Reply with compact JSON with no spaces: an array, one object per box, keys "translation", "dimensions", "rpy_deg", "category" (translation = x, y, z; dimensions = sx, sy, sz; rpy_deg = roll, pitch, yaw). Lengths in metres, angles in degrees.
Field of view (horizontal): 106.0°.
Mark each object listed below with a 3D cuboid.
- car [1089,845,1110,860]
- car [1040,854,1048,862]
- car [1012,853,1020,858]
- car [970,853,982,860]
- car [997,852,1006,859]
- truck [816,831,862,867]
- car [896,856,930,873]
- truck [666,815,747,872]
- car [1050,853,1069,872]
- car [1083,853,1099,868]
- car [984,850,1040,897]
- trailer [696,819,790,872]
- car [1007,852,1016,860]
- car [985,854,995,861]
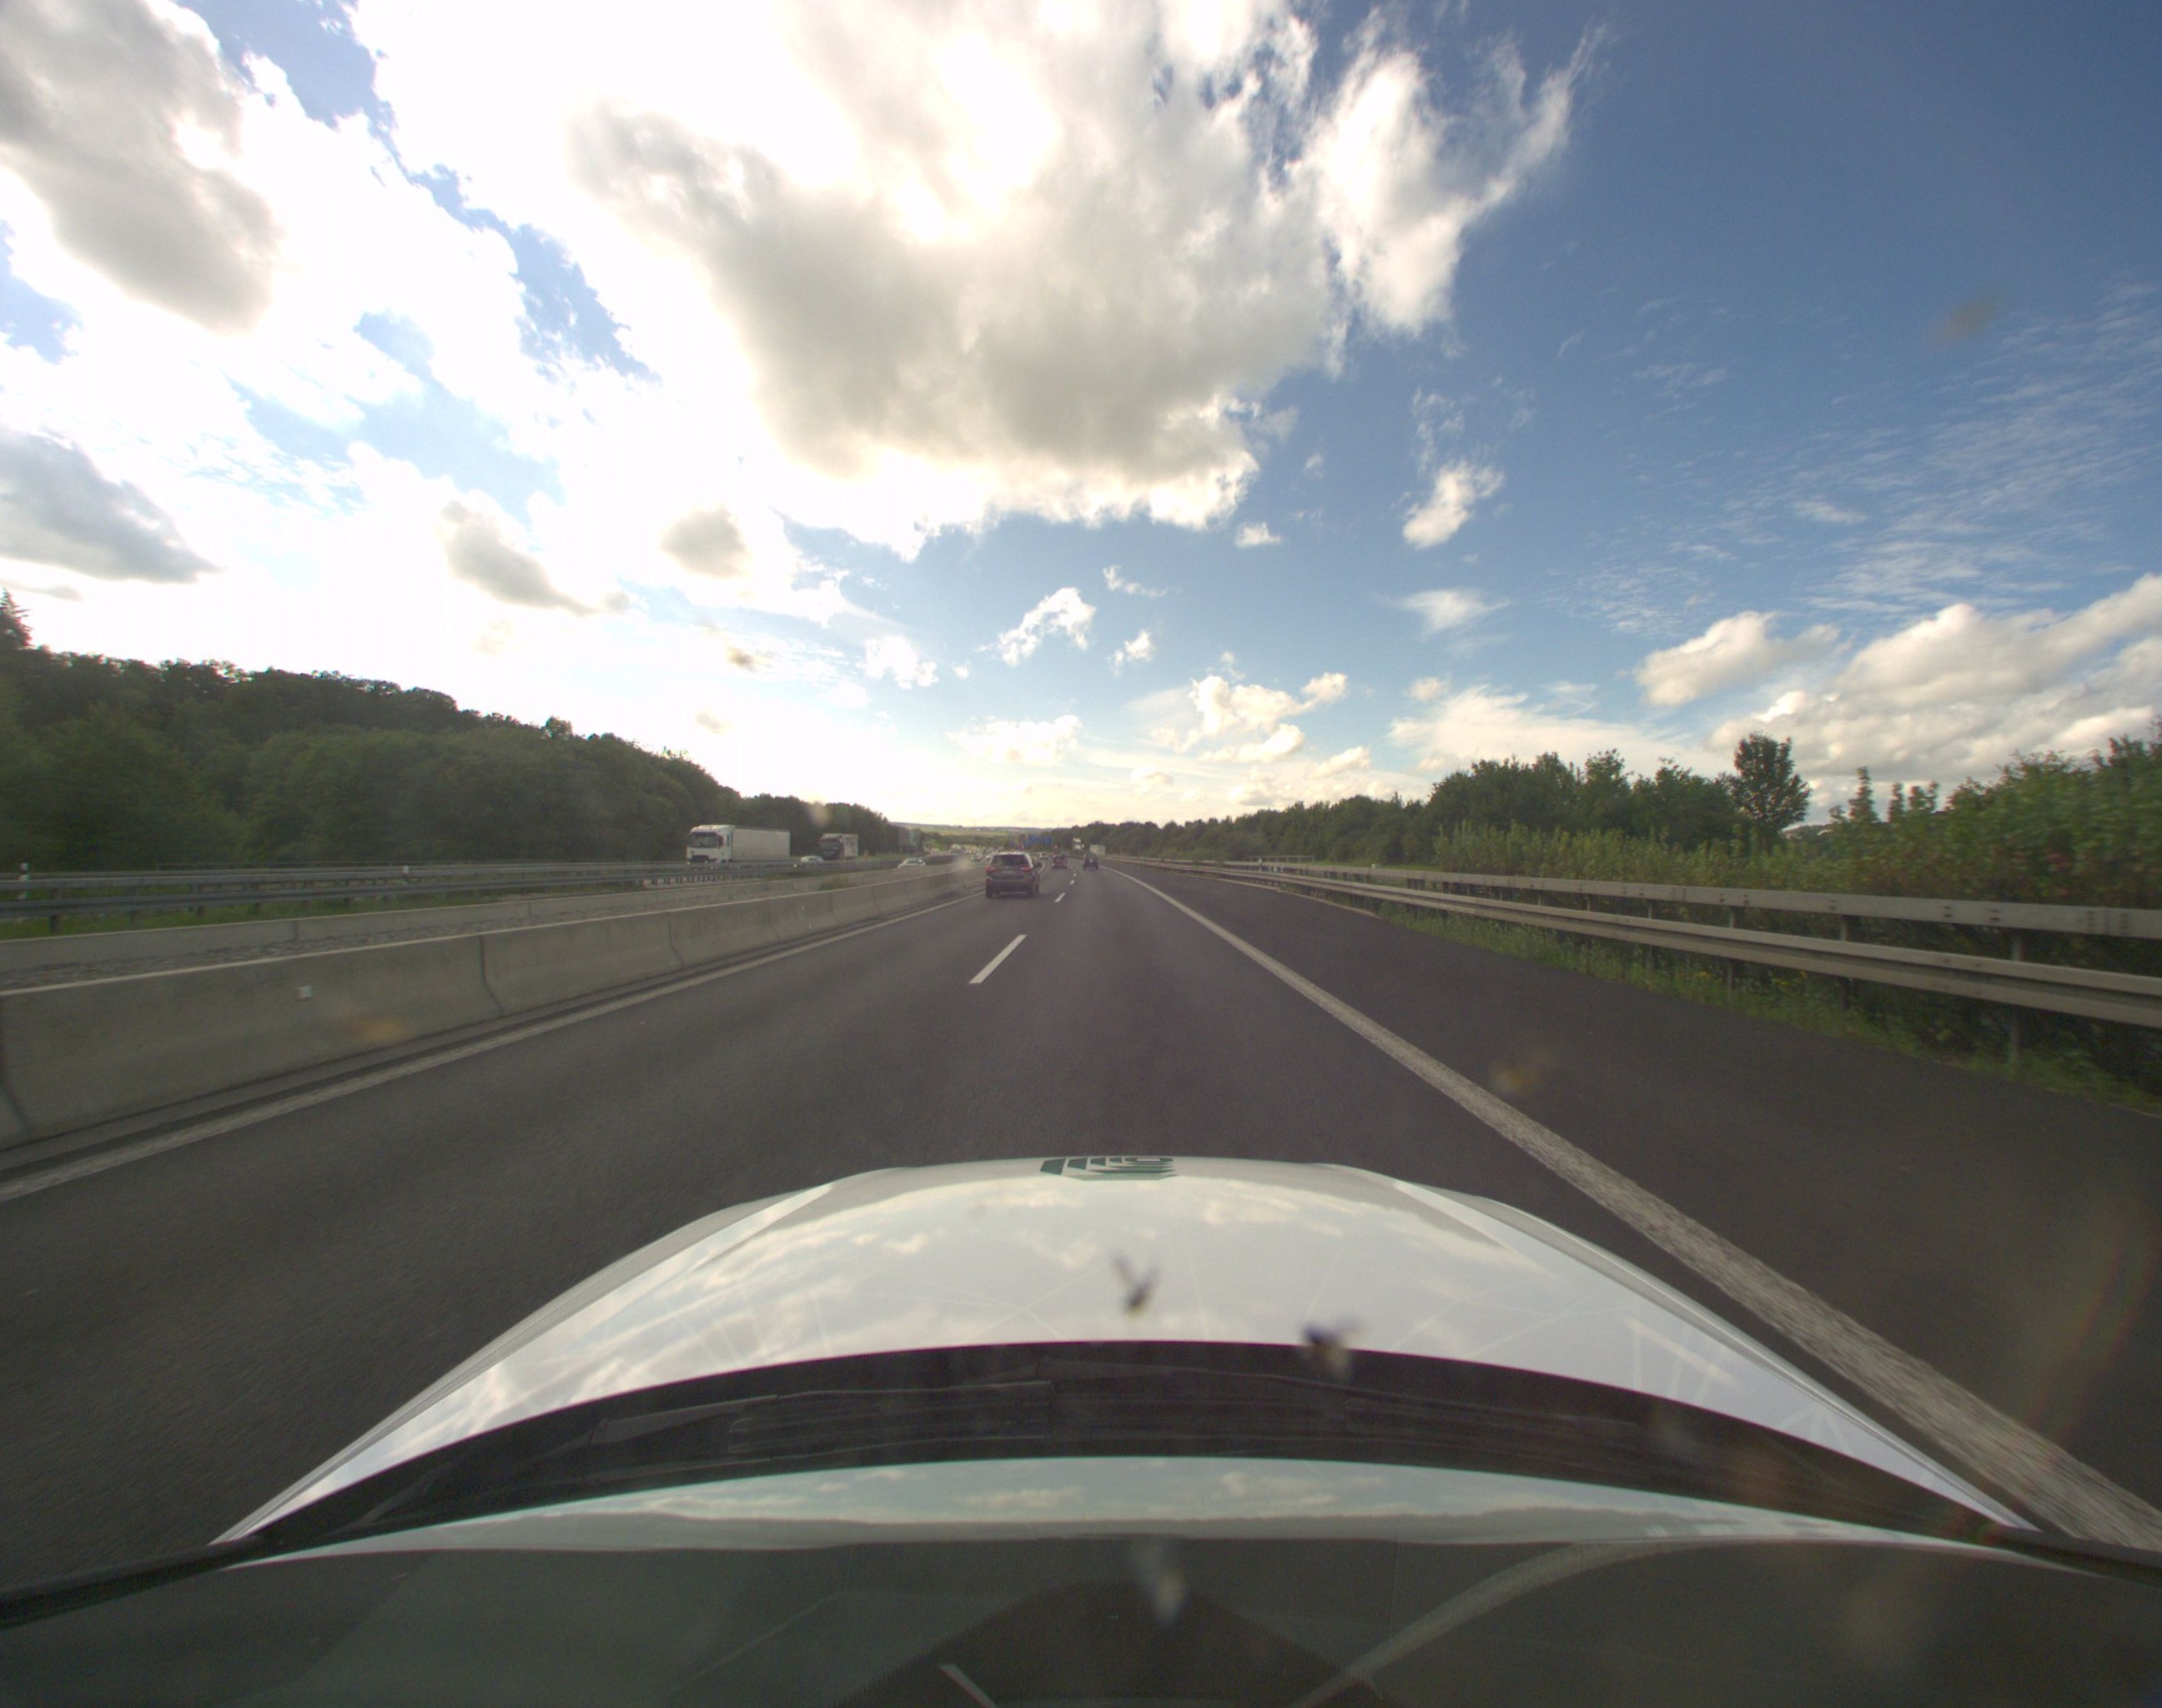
[{"translation":[5.614,-0.520,247.397],"dimensions":[4.726,4.266,11.370],"rpy_deg":[0,-1,-8],"category":"car"},{"translation":[-8.871,0.979,195.619],"dimensions":[1.989,1.684,3.995],"rpy_deg":[0,-1,-3],"category":"car"},{"translation":[-17.841,0.354,225.037],"dimensions":[2.041,1.337,5.601],"rpy_deg":[-1,0,-3],"category":"car"},{"translation":[-21.321,0.541,165.774],"dimensions":[1.989,1.402,4.808],"rpy_deg":[-1,0,-3],"category":"car"},{"translation":[-19.450,0.410,198.654],"dimensions":[1.881,1.785,4.948],"rpy_deg":[-1,0,-3],"category":"car"},{"translation":[-28.977,-0.473,97.989],"dimensions":[2.895,3.969,10.452],"rpy_deg":[0,-1,-3],"category":"truck"},{"translation":[-14.721,0.946,71.551],"dimensions":[1.868,1.447,5.122],"rpy_deg":[0,-1,1],"category":"car"},{"translation":[-29.834,-0.744,65.212],"dimensions":[3.310,4.293,6.746],"rpy_deg":[0,-1,0],"category":"truck"},{"translation":[-2.505,1.017,95.858],"dimensions":[2.023,2.151,4.002],"rpy_deg":[0,0,2],"category":"car"},{"translation":[1.074,0.709,87.604],"dimensions":[1.582,1.597,4.093],"rpy_deg":[0,0,-1],"category":"car"},{"translation":[-2.661,0.746,32.572],"dimensions":[1.812,1.736,5.185],"rpy_deg":[0,-1,0],"category":"car"},{"translation":[-29.882,-0.577,72.838],"dimensions":[3.311,4.293,12.136],"rpy_deg":[0,-1,0],"category":"trailer"},{"translation":[-16.112,0.470,188.088],"dimensions":[1.882,1.703,4.960],"rpy_deg":[-1,0,-3],"category":"car"},{"translation":[-20.651,0.709,184.823],"dimensions":[1.882,1.610,4.959],"rpy_deg":[-1,0,-4],"category":"car"}]
